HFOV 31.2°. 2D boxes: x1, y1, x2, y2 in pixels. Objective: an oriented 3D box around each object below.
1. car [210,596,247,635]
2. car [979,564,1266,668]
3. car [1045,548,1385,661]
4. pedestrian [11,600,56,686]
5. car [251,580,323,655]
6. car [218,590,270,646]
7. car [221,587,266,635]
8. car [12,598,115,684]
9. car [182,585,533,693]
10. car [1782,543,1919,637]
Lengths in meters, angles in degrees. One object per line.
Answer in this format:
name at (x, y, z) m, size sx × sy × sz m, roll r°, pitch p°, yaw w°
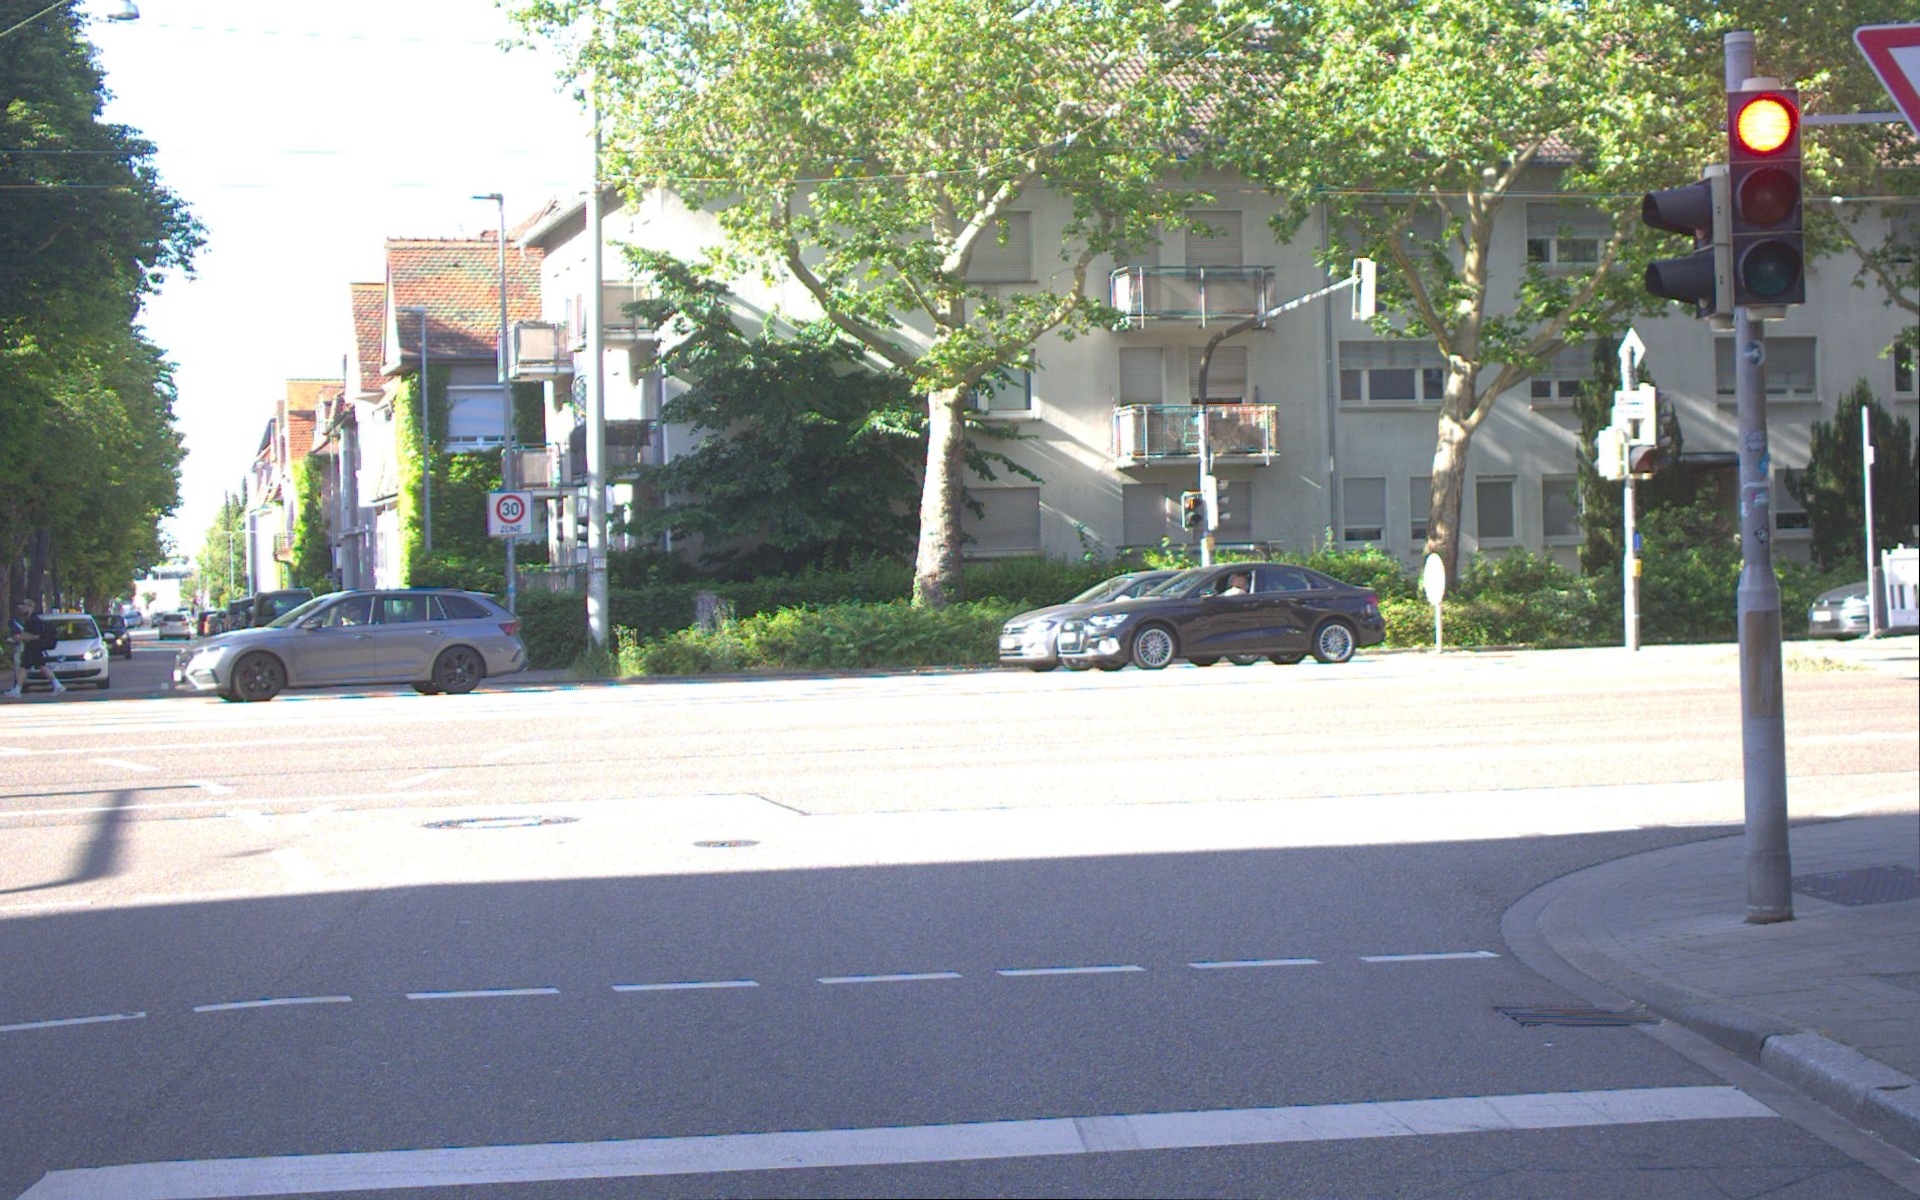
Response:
car at (-38.461, 0.787, 180.827) m, size 1.772 × 1.912 × 3.535 m, roll -3°, pitch 1°, yaw -12°
car at (2.350, 0.211, 49.788) m, size 3.780 × 1.395 × 1.646 m, roll -1°, pitch 1°, yaw -21°
car at (3.438, 0.038, 46.375) m, size 4.266 × 1.395 × 1.646 m, roll -1°, pitch 1°, yaw -21°
pedestrian at (-15.697, 0.728, 58.238) m, size 0.703 × 1.437 × 0.490 m, roll 1°, pitch 0°, yaw -17°
car at (-18.549, 0.452, 94.648) m, size 1.772 × 1.912 × 3.535 m, roll -3°, pitch 1°, yaw -12°
car at (-26.696, 0.647, 128.160) m, size 1.772 × 1.912 × 3.535 m, roll -3°, pitch 1°, yaw -12°
car at (-30.526, 0.464, 146.445) m, size 1.772 × 1.912 × 3.535 m, roll -3°, pitch 1°, yaw -12°
car at (-17.277, 0.767, 66.369) m, size 1.698 × 1.478 × 3.535 m, roll -3°, pitch 1°, yaw -12°
car at (-8.086, 0.502, 46.130) m, size 4.385 × 1.312 × 1.646 m, roll -1°, pitch 1°, yaw -20°
car at (15.016, -0.186, 53.668) m, size 3.938 × 1.395 × 1.646 m, roll -1°, pitch 1°, yaw -18°
